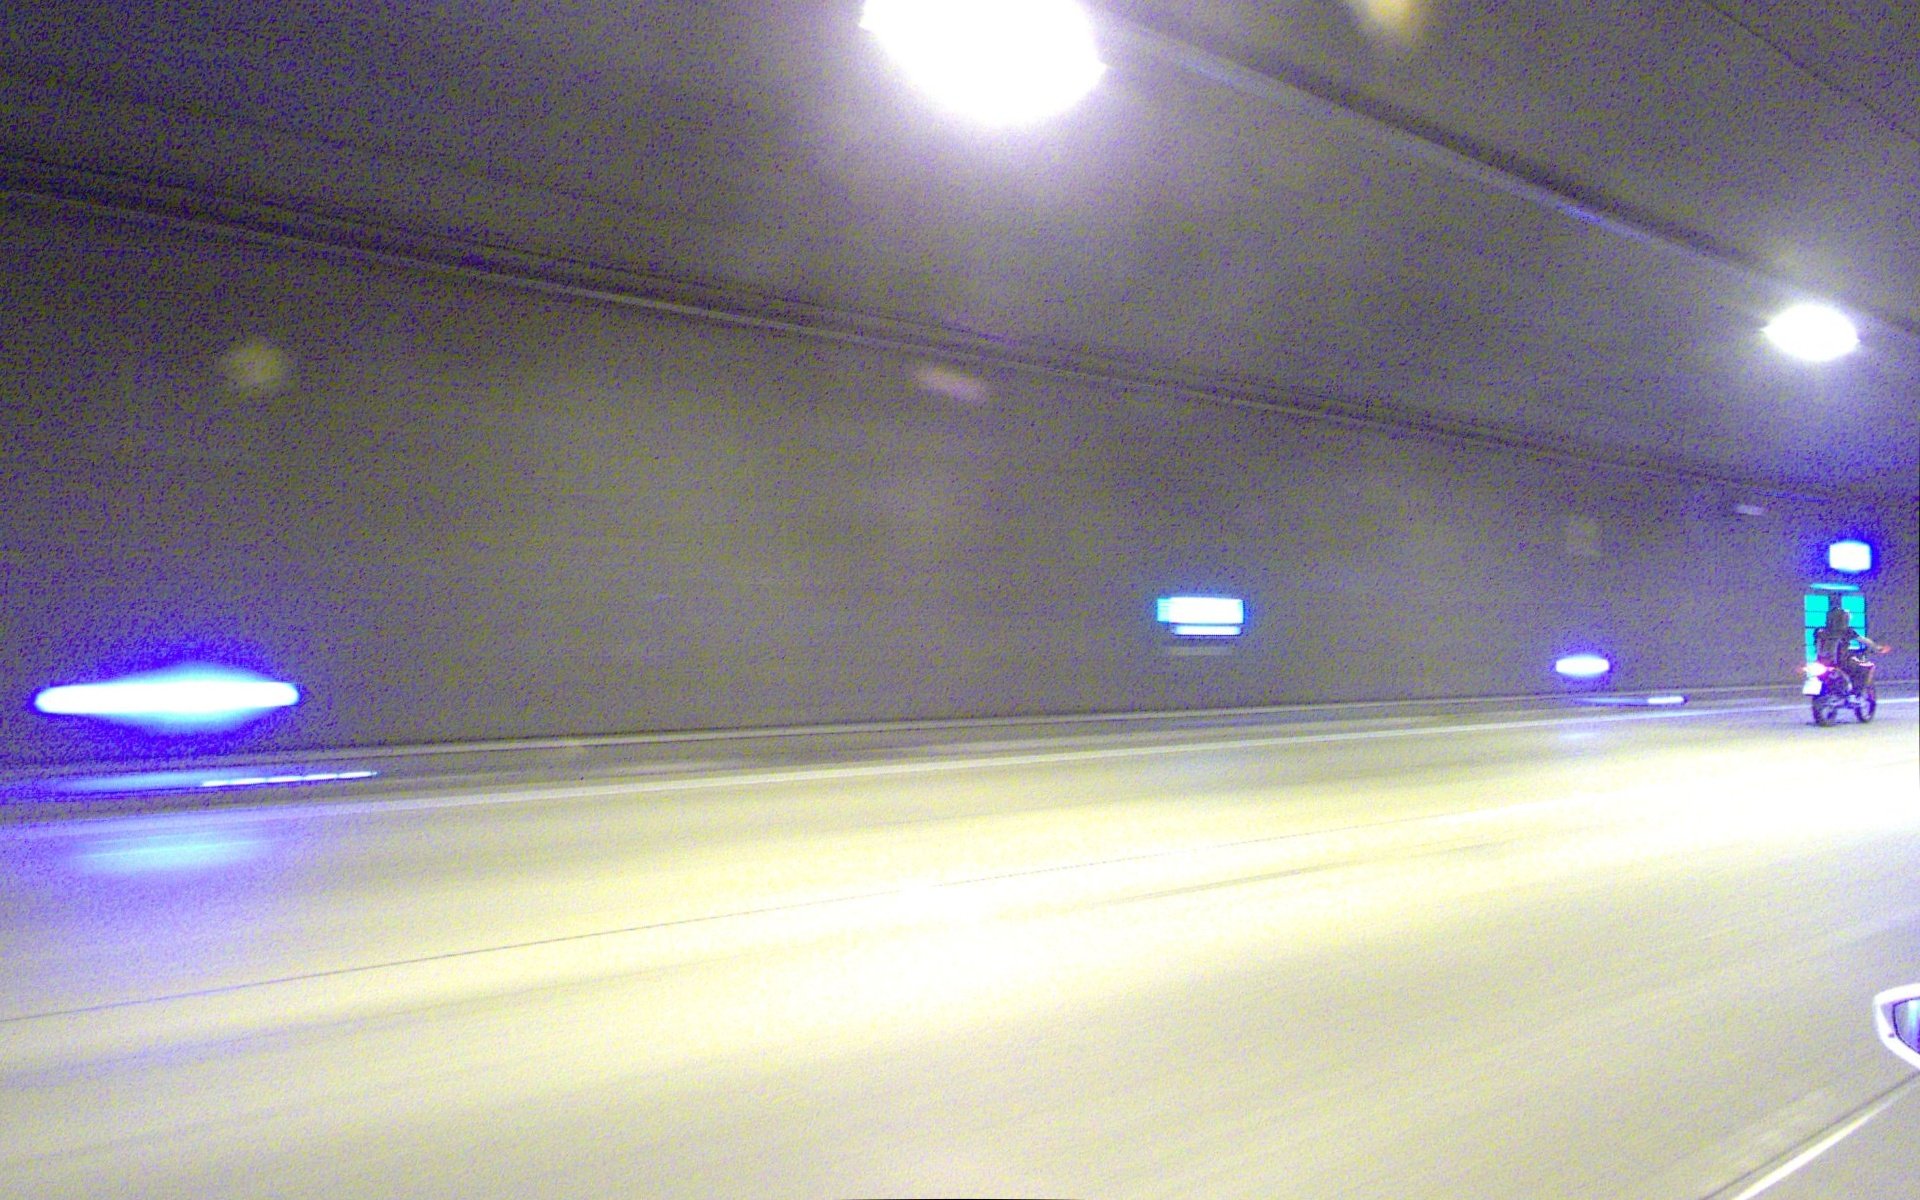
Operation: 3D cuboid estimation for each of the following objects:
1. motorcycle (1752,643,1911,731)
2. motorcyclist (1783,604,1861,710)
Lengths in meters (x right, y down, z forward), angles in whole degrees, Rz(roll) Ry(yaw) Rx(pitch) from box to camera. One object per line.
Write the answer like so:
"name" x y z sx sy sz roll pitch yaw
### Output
"motorcycle" 13.012 1.252 14.992 2.398 1.173 1.048 1 0 -29
"motorcyclist" 12.714 0.829 14.814 0.880 1.509 0.624 1 -1 -30
